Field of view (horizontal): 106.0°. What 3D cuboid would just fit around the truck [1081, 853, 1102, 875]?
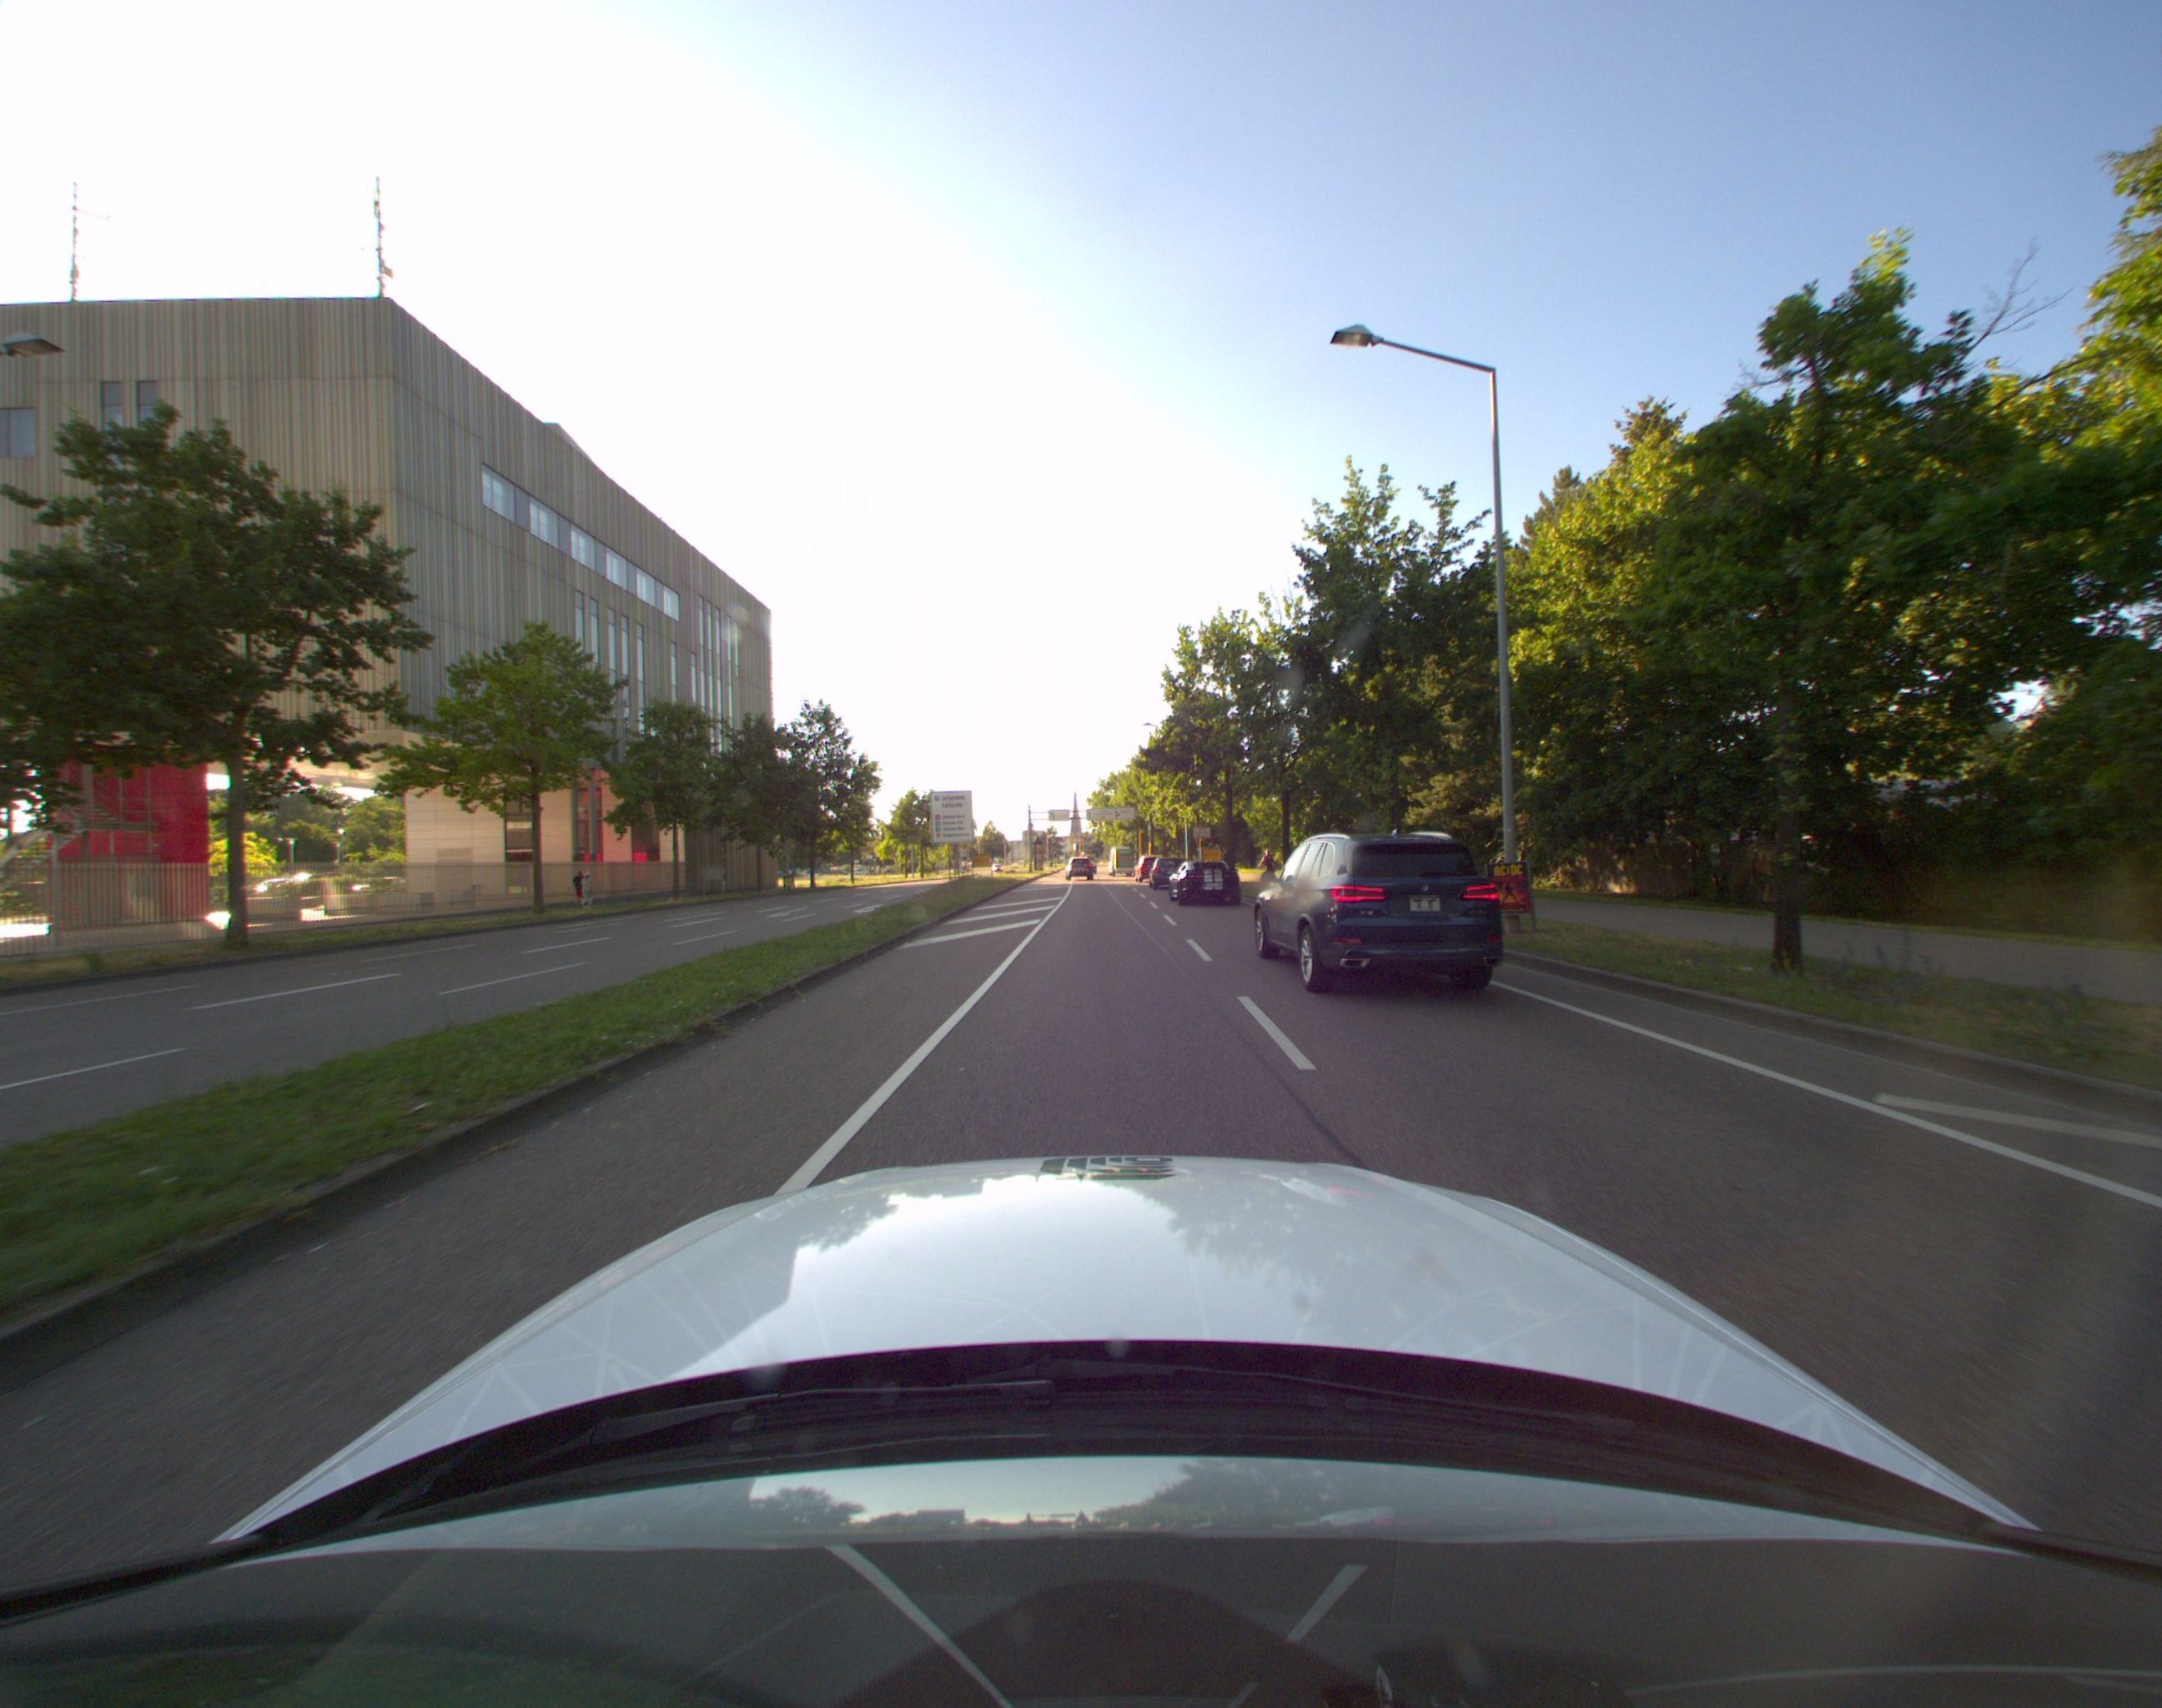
[{"bbox_3d":[1.268,1.220,100.256,2.214,2.651,4.770,-2,0,-2],"label":"truck"}]

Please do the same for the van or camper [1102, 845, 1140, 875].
[{"bbox_3d":[3.641,0.538,75.802,2.284,2.629,6.563,-1,0,-8],"label":"van or camper"}]

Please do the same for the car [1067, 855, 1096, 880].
[{"bbox_3d":[-0.030,0.933,58.059,1.900,1.660,3.997,-2,-1,-2],"label":"car"}]

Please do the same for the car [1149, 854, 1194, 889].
[{"bbox_3d":[4.138,0.757,37.674,1.740,1.473,3.822,-2,0,2],"label":"car"}]

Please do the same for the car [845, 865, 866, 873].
[{"bbox_3d":[-45.197,3.068,163.242,3.730,1.508,1.852,-2,0,-43],"label":"car"}]

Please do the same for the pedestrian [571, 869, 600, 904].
[{"bbox_3d":[-23.113,1.501,37.987,0.773,1.601,0.909,-2,0,1],"label":"pedestrian"}]

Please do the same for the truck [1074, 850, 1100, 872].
[{"bbox_3d":[0.672,0.813,100.717,2.576,2.558,6.241,-2,0,-5],"label":"truck"}]

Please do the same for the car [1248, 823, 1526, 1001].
[{"bbox_3d":[3.469,0.602,10.323,1.947,1.727,4.702,-1,-1,3],"label":"car"}]

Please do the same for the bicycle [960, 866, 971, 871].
[{"bbox_3d":[-21.587,2.722,151.920,1.894,1.020,0.506,-1,-1,14],"label":"bicycle"}]

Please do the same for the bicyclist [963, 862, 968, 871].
[{"bbox_3d":[-21.549,2.346,151.914,0.807,1.770,0.498,-1,-1,14],"label":"bicyclist"}]

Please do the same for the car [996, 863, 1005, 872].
[{"bbox_3d":[-15.669,2.614,158.331,1.559,1.575,3.408,-2,-1,-3],"label":"car"}]

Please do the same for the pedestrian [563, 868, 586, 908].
[{"bbox_3d":[-24.014,1.593,38.620,0.630,1.841,0.716,-2,0,0],"label":"pedestrian"}]

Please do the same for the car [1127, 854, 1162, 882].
[{"bbox_3d":[3.783,0.799,49.090,1.742,1.621,3.818,0,0,0],"label":"car"}]

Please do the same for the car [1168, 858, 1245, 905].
[{"bbox_3d":[3.906,0.823,26.012,1.847,1.338,4.626,-1,0,2],"label":"car"}]

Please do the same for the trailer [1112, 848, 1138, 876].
[{"bbox_3d":[3.761,0.690,70.328,2.083,2.400,3.500,-1,0,0],"label":"trailer"}]

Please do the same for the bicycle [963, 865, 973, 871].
[{"bbox_3d":[-21.238,2.656,153.201,1.898,1.020,0.505,-1,-1,6],"label":"bicycle"}]
